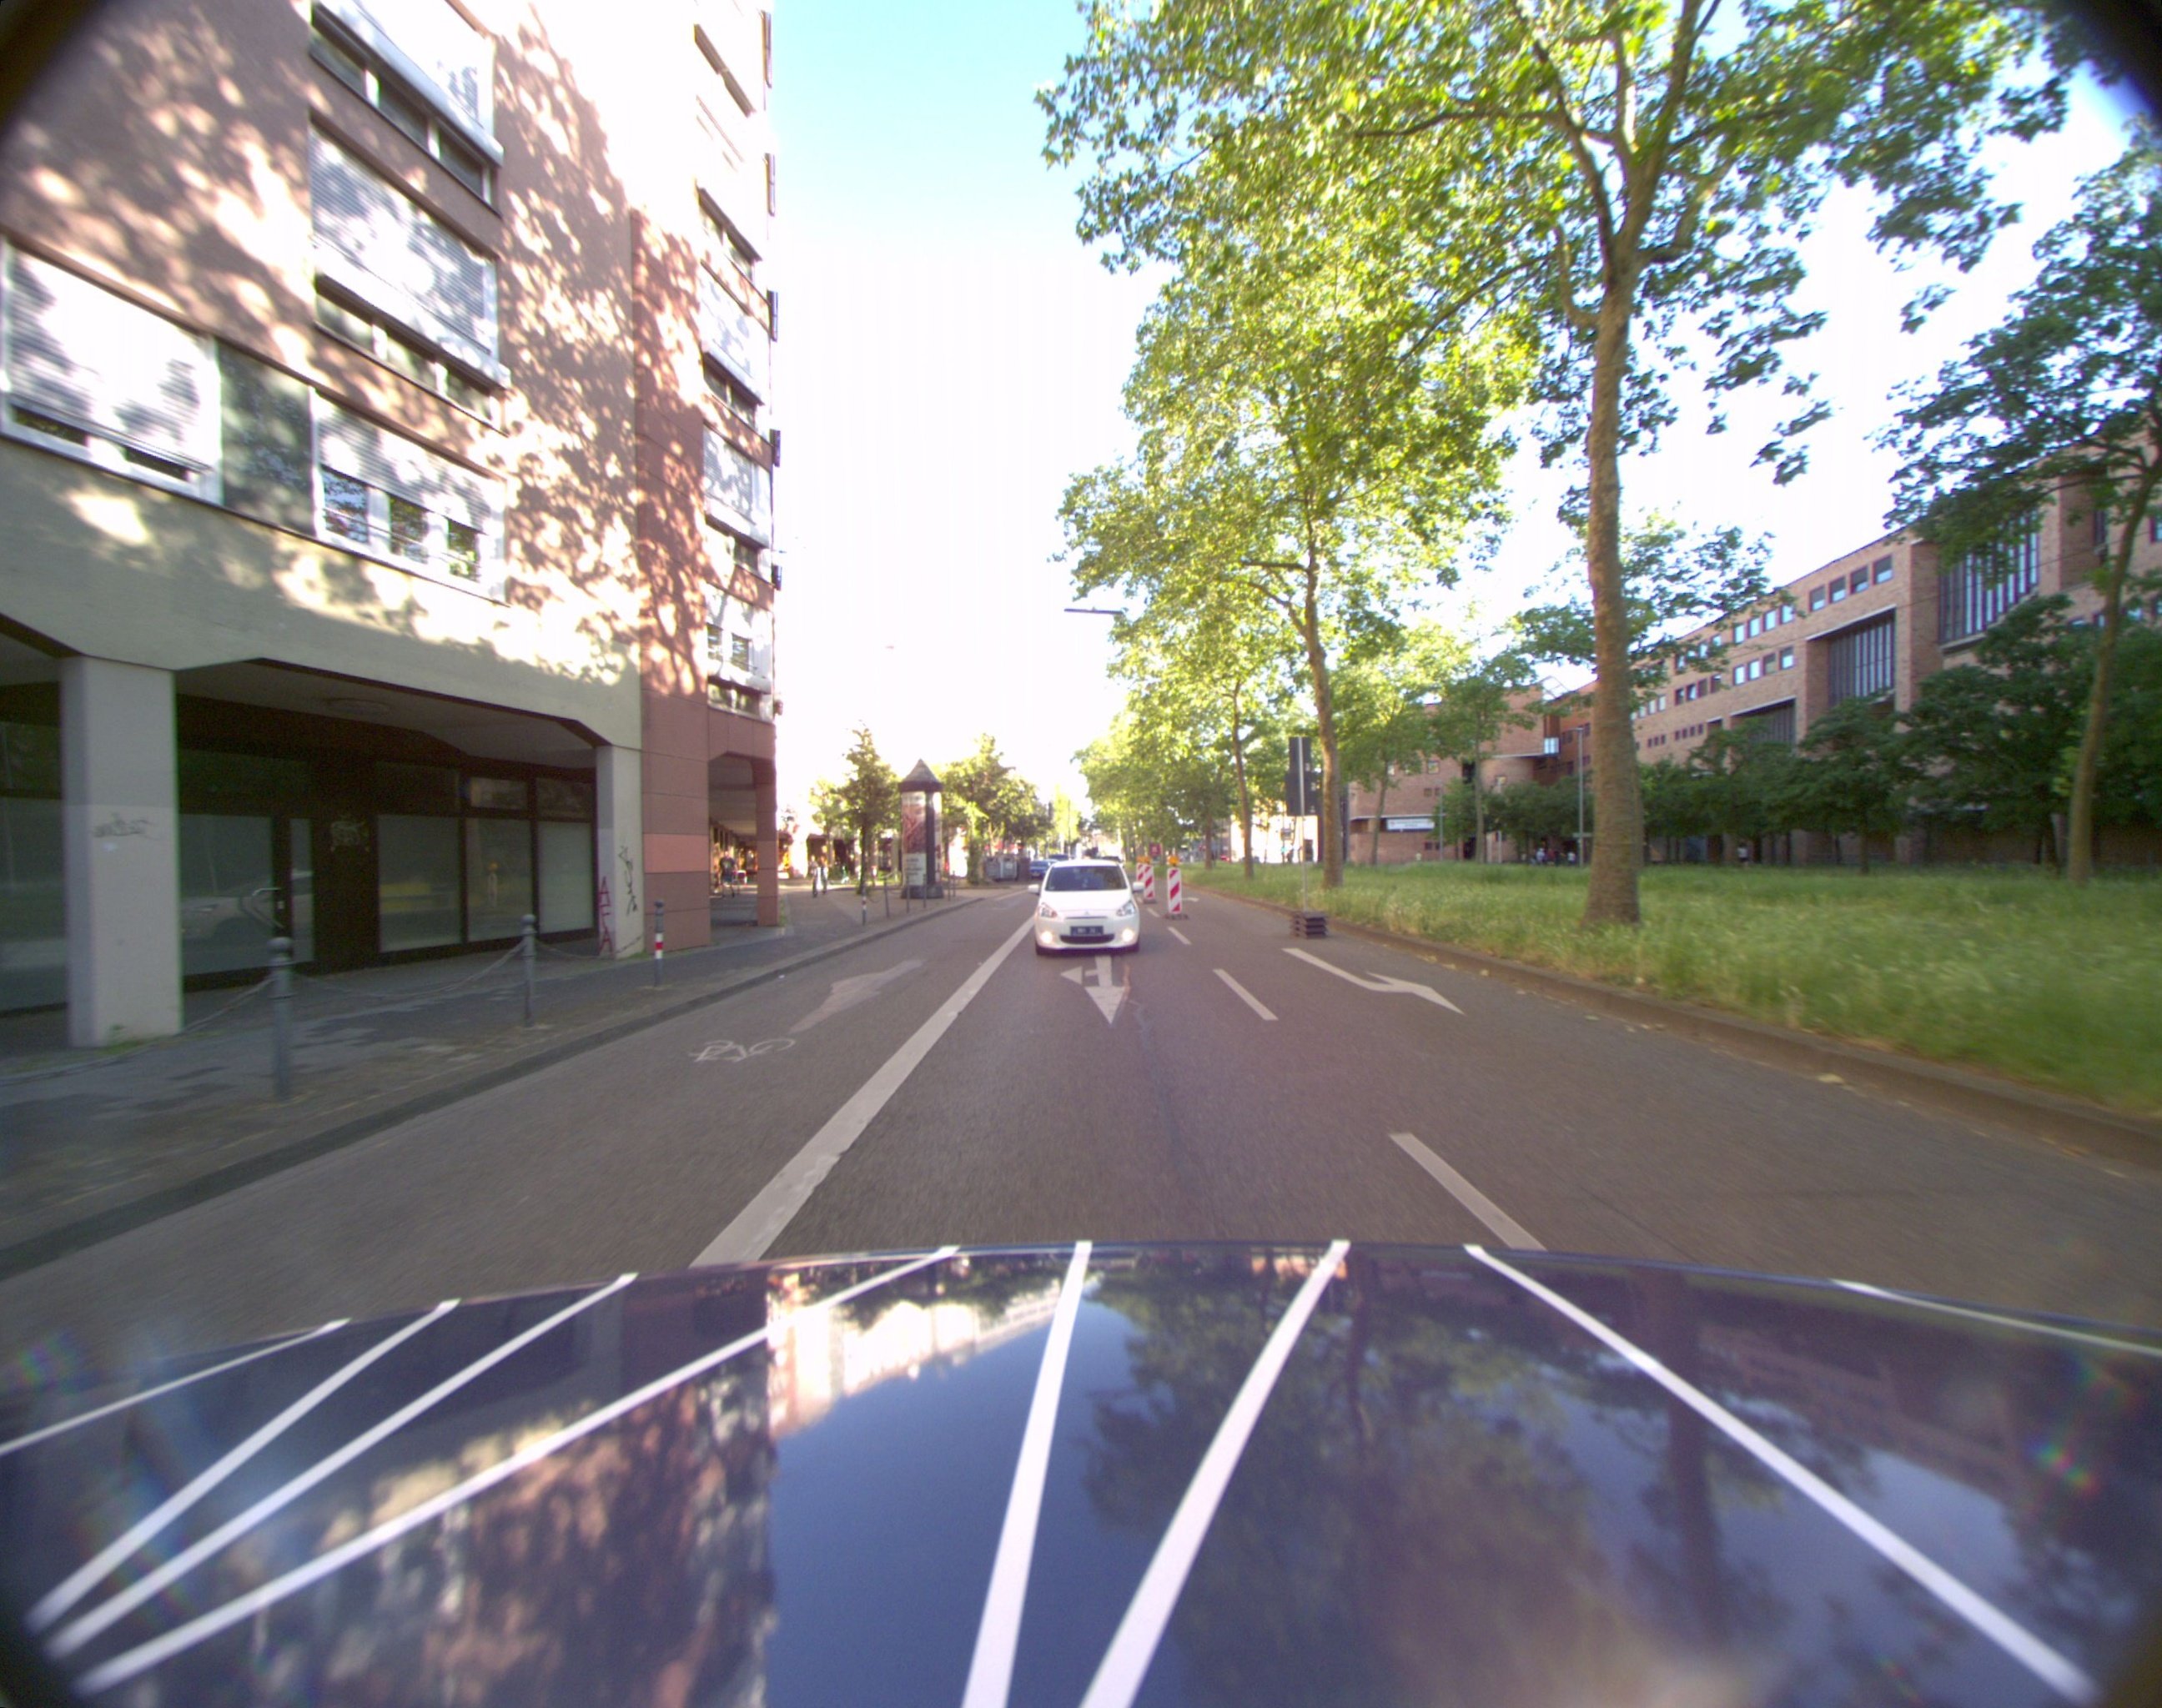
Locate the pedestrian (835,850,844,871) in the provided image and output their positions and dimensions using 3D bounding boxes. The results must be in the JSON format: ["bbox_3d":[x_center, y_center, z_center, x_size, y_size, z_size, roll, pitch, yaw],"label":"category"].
[{"bbox_3d":[-21.629,0.578,68.050,0.622,1.859,0.708,-1,1,-8],"label":"pedestrian"}]

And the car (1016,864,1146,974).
[{"bbox_3d":[0.183,0.954,12.901,1.720,1.442,4.427,-3,-1,6],"label":"car"}]

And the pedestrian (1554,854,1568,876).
[{"bbox_3d":[35.537,0.805,56.253,0.612,1.670,0.596,0,0,0],"label":"pedestrian"}]

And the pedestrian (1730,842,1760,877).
[{"bbox_3d":[34.911,0.266,39.953,0.827,1.820,0.899,-1,0,-18],"label":"pedestrian"}]

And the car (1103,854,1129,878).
[{"bbox_3d":[2.549,0.838,55.449,1.824,1.630,4.000,-1,0,2],"label":"car"}]

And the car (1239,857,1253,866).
[{"bbox_3d":[26.024,1.227,119.966,1.617,1.420,3.222,0,0,0],"label":"car"}]

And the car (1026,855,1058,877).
[{"bbox_3d":[-2.668,0.826,52.882,1.705,1.475,4.250,1,0,4],"label":"car"}]

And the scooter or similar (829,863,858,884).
[{"bbox_3d":[-13.453,1.100,43.020,1.457,1.139,0.559,-1,1,7],"label":"scooter or similar"}]

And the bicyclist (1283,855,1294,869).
[{"bbox_3d":[23.296,0.915,85.377,0.943,1.561,1.209,0,0,2],"label":"bicyclist"}]

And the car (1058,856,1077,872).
[{"bbox_3d":[-1.456,1.090,83.469,1.802,1.714,4.461,1,0,2],"label":"car"}]

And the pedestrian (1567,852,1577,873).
[{"bbox_3d":[36.071,0.635,55.827,0.484,1.496,0.463,0,0,4],"label":"pedestrian"}]

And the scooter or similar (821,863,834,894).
[{"bbox_3d":[-10.700,1.020,32.033,0.486,1.266,1.448,-1,0,-18],"label":"scooter or similar"}]

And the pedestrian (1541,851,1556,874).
[{"bbox_3d":[34.489,0.641,56.067,0.665,1.712,0.797,0,0,1],"label":"pedestrian"}]

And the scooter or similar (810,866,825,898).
[{"bbox_3d":[-10.245,1.081,29.561,0.486,1.209,1.448,-1,0,-18],"label":"scooter or similar"}]

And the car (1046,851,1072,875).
[{"bbox_3d":[-1.859,0.774,65.579,2.043,1.932,5.198,1,0,0],"label":"car"}]

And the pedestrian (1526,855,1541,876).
[{"bbox_3d":[34.359,0.876,57.721,0.665,1.607,0.756,0,0,1],"label":"pedestrian"}]

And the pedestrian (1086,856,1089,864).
[{"bbox_3d":[1.572,1.595,189.461,0.614,2.002,0.530,0,0,0],"label":"pedestrian"}]

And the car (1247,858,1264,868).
[{"bbox_3d":[26.142,1.293,113.781,1.675,1.420,4.150,0,0,0],"label":"car"}]

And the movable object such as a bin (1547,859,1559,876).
[{"bbox_3d":[34.350,0.990,55.292,0.356,1.271,0.756,0,0,1],"label":"movable object such as a bin"}]

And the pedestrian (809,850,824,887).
[{"bbox_3d":[-14.416,0.793,41.459,0.641,1.970,0.775,-1,0,-10],"label":"pedestrian"}]

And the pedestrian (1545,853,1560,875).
[{"bbox_3d":[34.917,0.719,56.259,0.665,1.607,0.756,0,0,1],"label":"pedestrian"}]

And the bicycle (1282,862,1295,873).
[{"bbox_3d":[23.315,1.513,85.392,0.959,1.119,2.436,0,1,2],"label":"bicycle"}]

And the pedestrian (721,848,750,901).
[{"bbox_3d":[-13.037,0.754,28.713,0.819,1.970,0.847,-1,0,-14],"label":"pedestrian"}]

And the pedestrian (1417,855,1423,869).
[{"bbox_3d":[35.072,0.825,78.625,0.417,1.534,0.653,0,0,4],"label":"pedestrian"}]

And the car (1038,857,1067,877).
[{"bbox_3d":[-2.180,0.990,58.608,1.705,1.457,4.177,1,0,5],"label":"car"}]
